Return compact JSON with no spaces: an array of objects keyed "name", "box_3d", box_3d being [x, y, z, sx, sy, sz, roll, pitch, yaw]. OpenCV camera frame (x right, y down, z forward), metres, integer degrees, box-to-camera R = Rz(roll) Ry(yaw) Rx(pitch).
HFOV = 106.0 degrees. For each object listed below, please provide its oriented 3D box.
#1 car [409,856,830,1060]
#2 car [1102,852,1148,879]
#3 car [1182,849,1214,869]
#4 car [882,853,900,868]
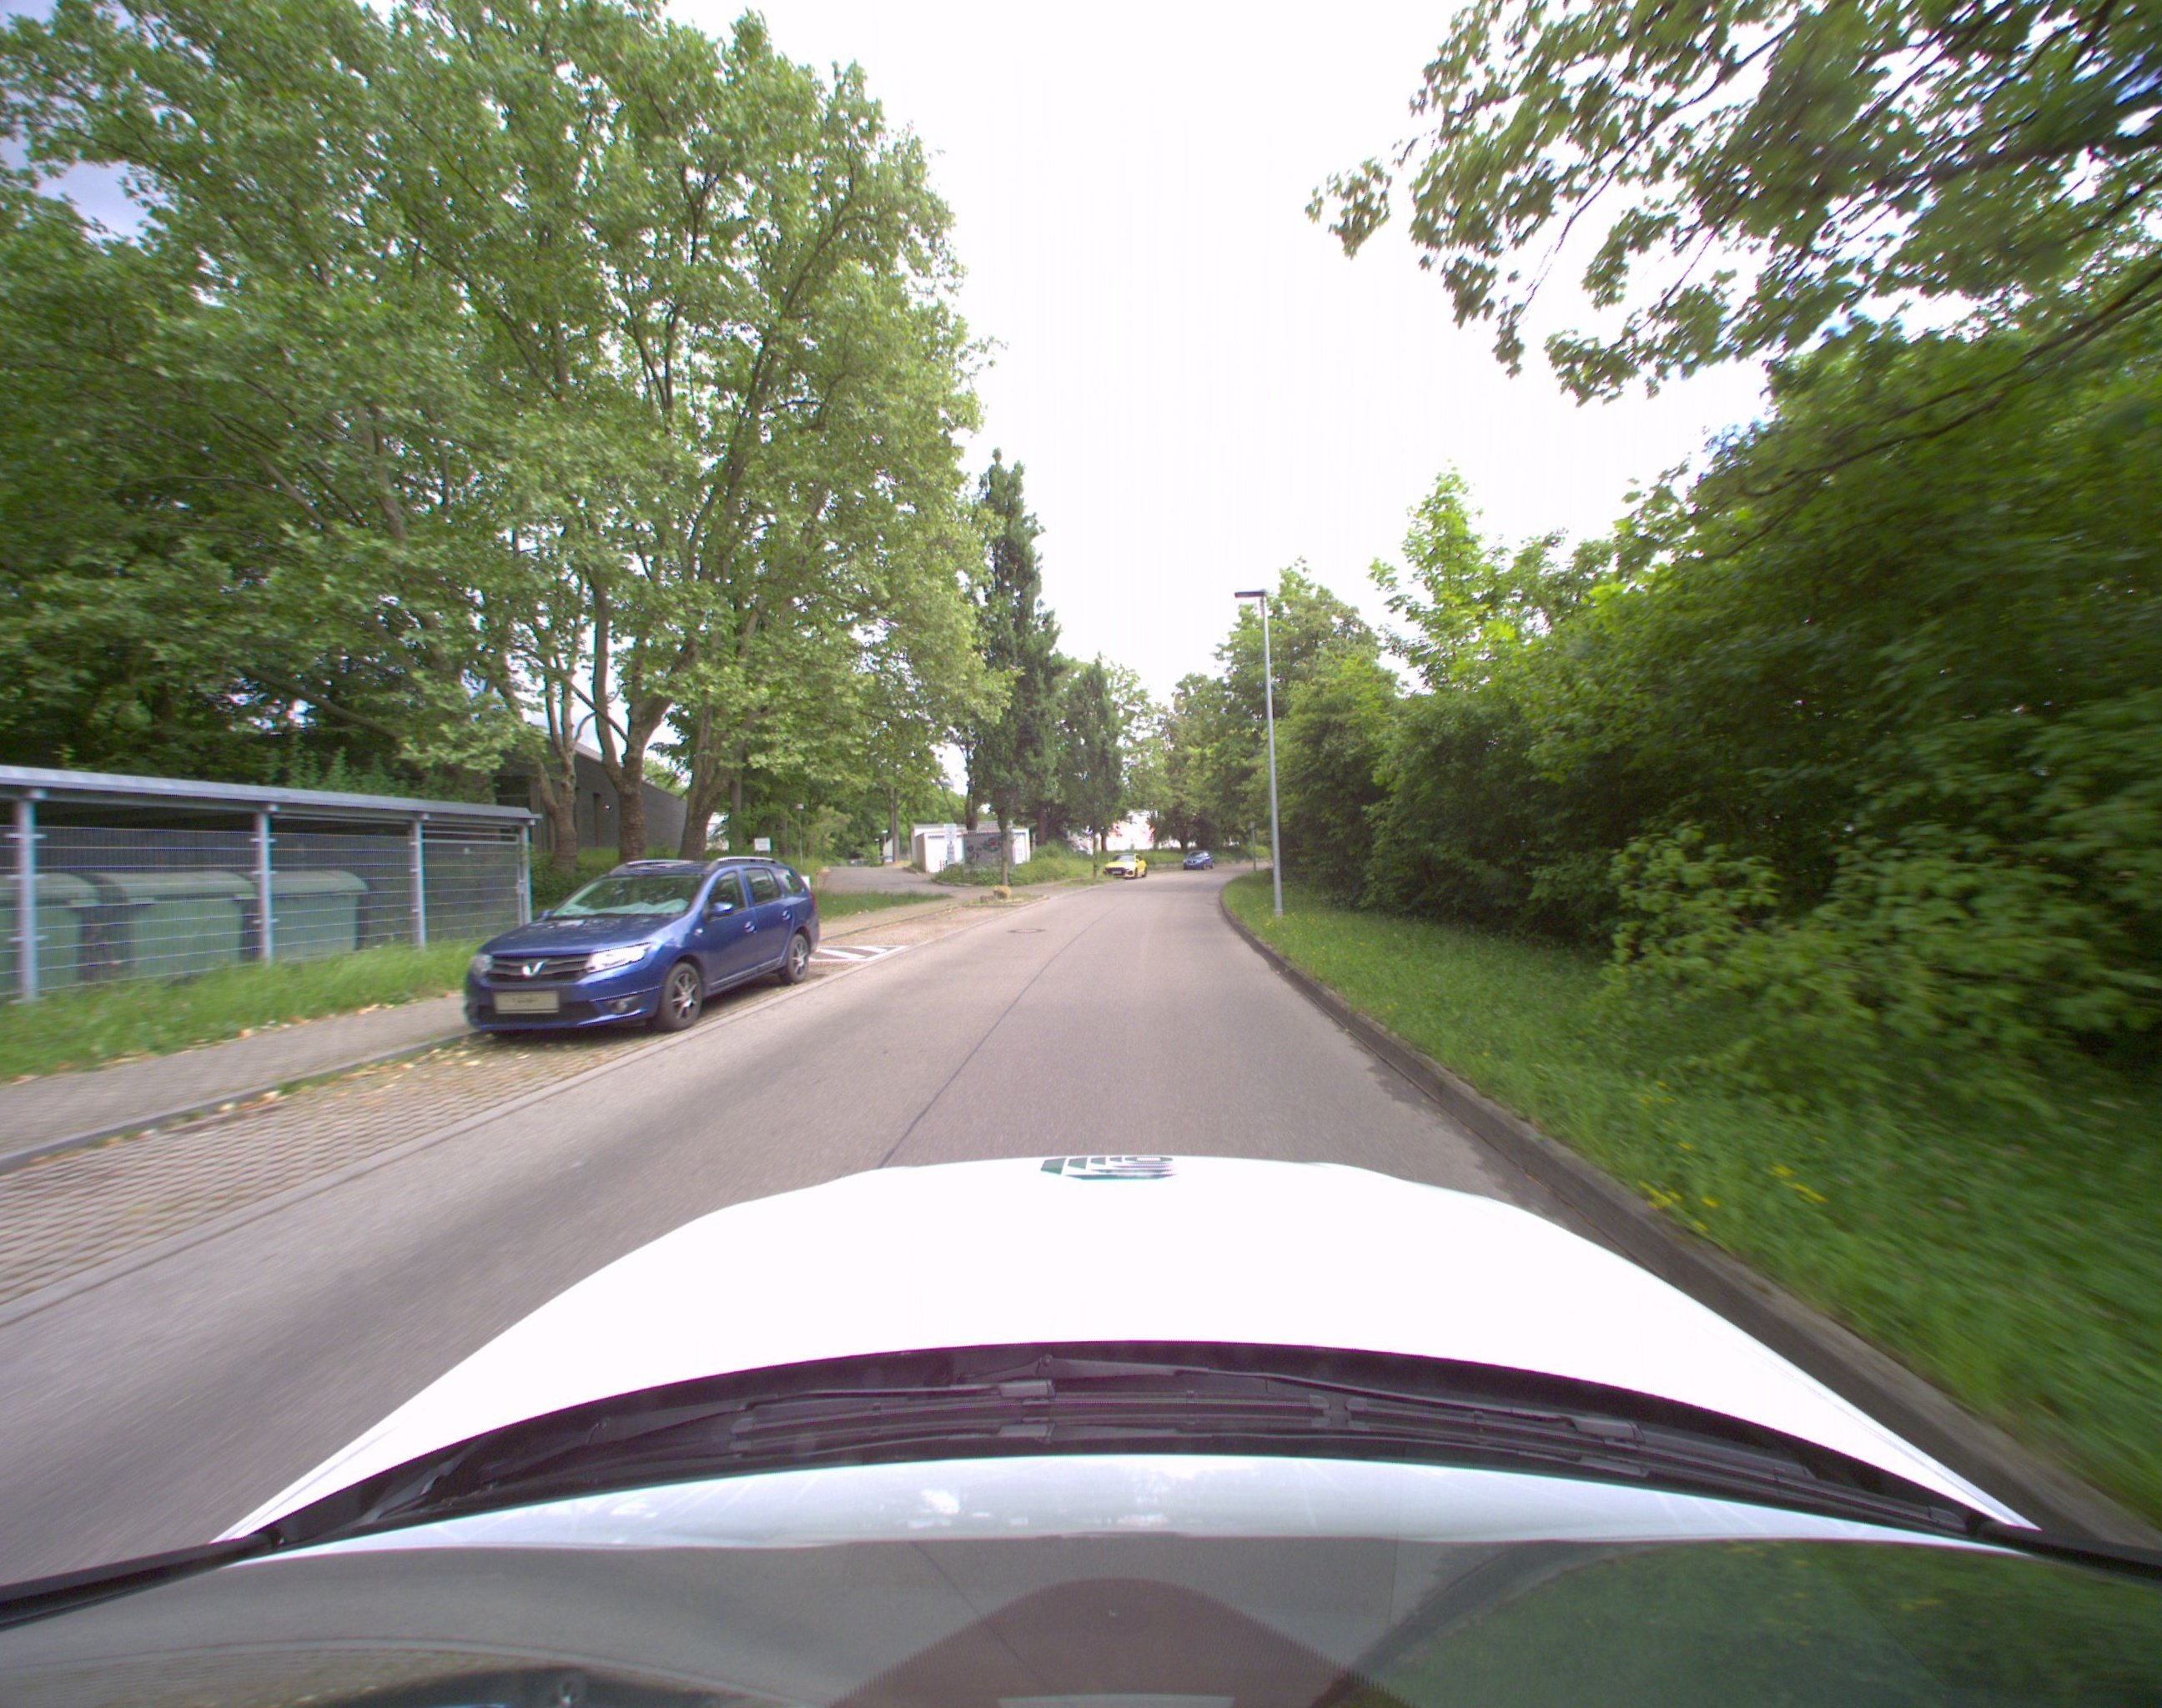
[{"name":"car","box_3d":[-4.276,0.814,8.538,1.673,1.511,4.434,-2,0,3]},{"name":"car","box_3d":[2.562,0.633,46.286,1.687,1.403,4.291,-1,0,16]},{"name":"car","box_3d":[9.097,0.347,63.064,1.520,1.459,3.741,-2,0,24]},{"name":"car","box_3d":[-24.270,0.858,104.233,1.872,1.746,3.987,-3,0,-9]}]
